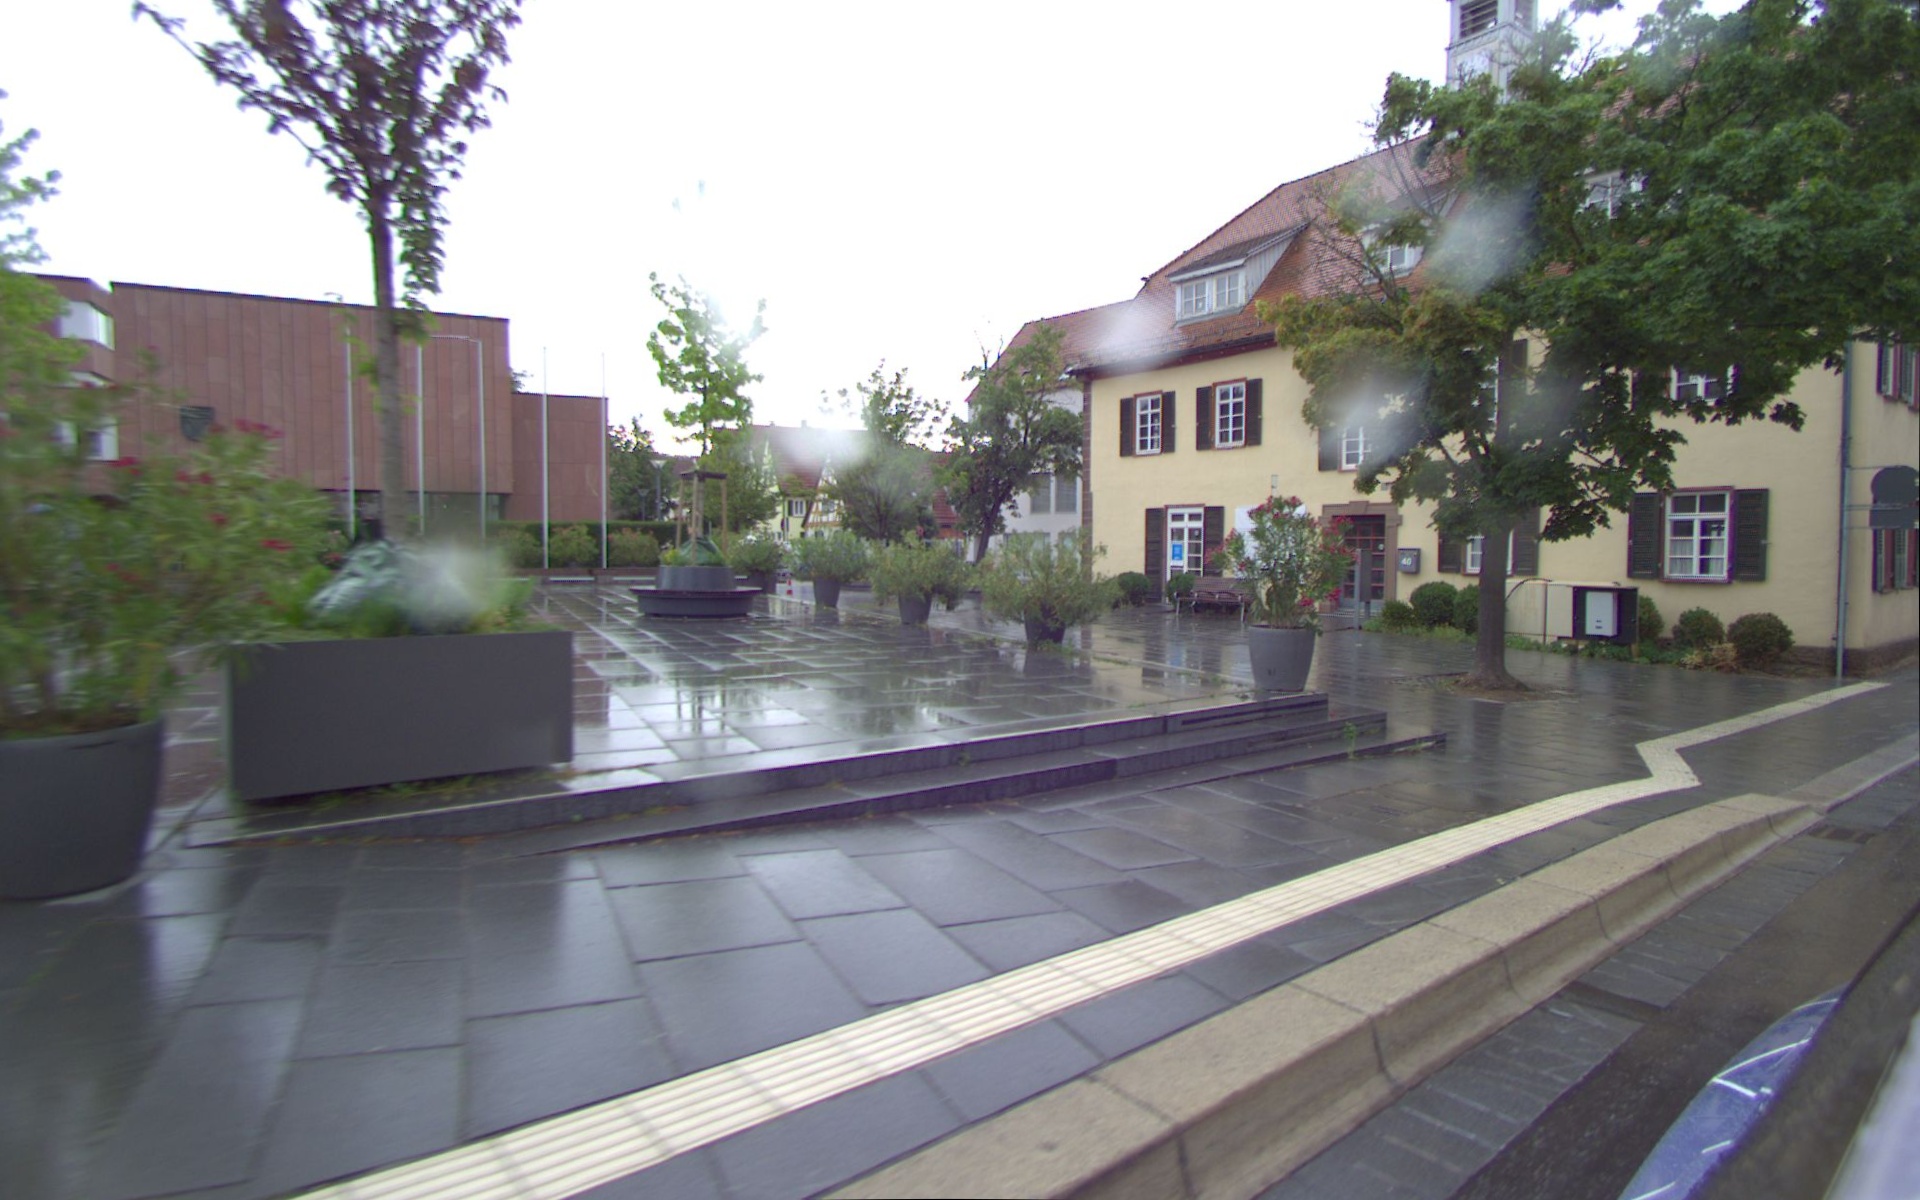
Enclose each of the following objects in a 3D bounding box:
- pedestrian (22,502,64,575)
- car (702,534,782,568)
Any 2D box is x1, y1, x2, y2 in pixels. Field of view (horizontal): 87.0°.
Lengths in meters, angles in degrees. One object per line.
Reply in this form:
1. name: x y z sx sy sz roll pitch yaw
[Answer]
1. pedestrian: -29.976 -1.998 33.104 0.783 2.335 0.905 0 4 -30
2. car: -11.876 -2.665 55.243 3.919 1.793 1.722 -1 4 -29
